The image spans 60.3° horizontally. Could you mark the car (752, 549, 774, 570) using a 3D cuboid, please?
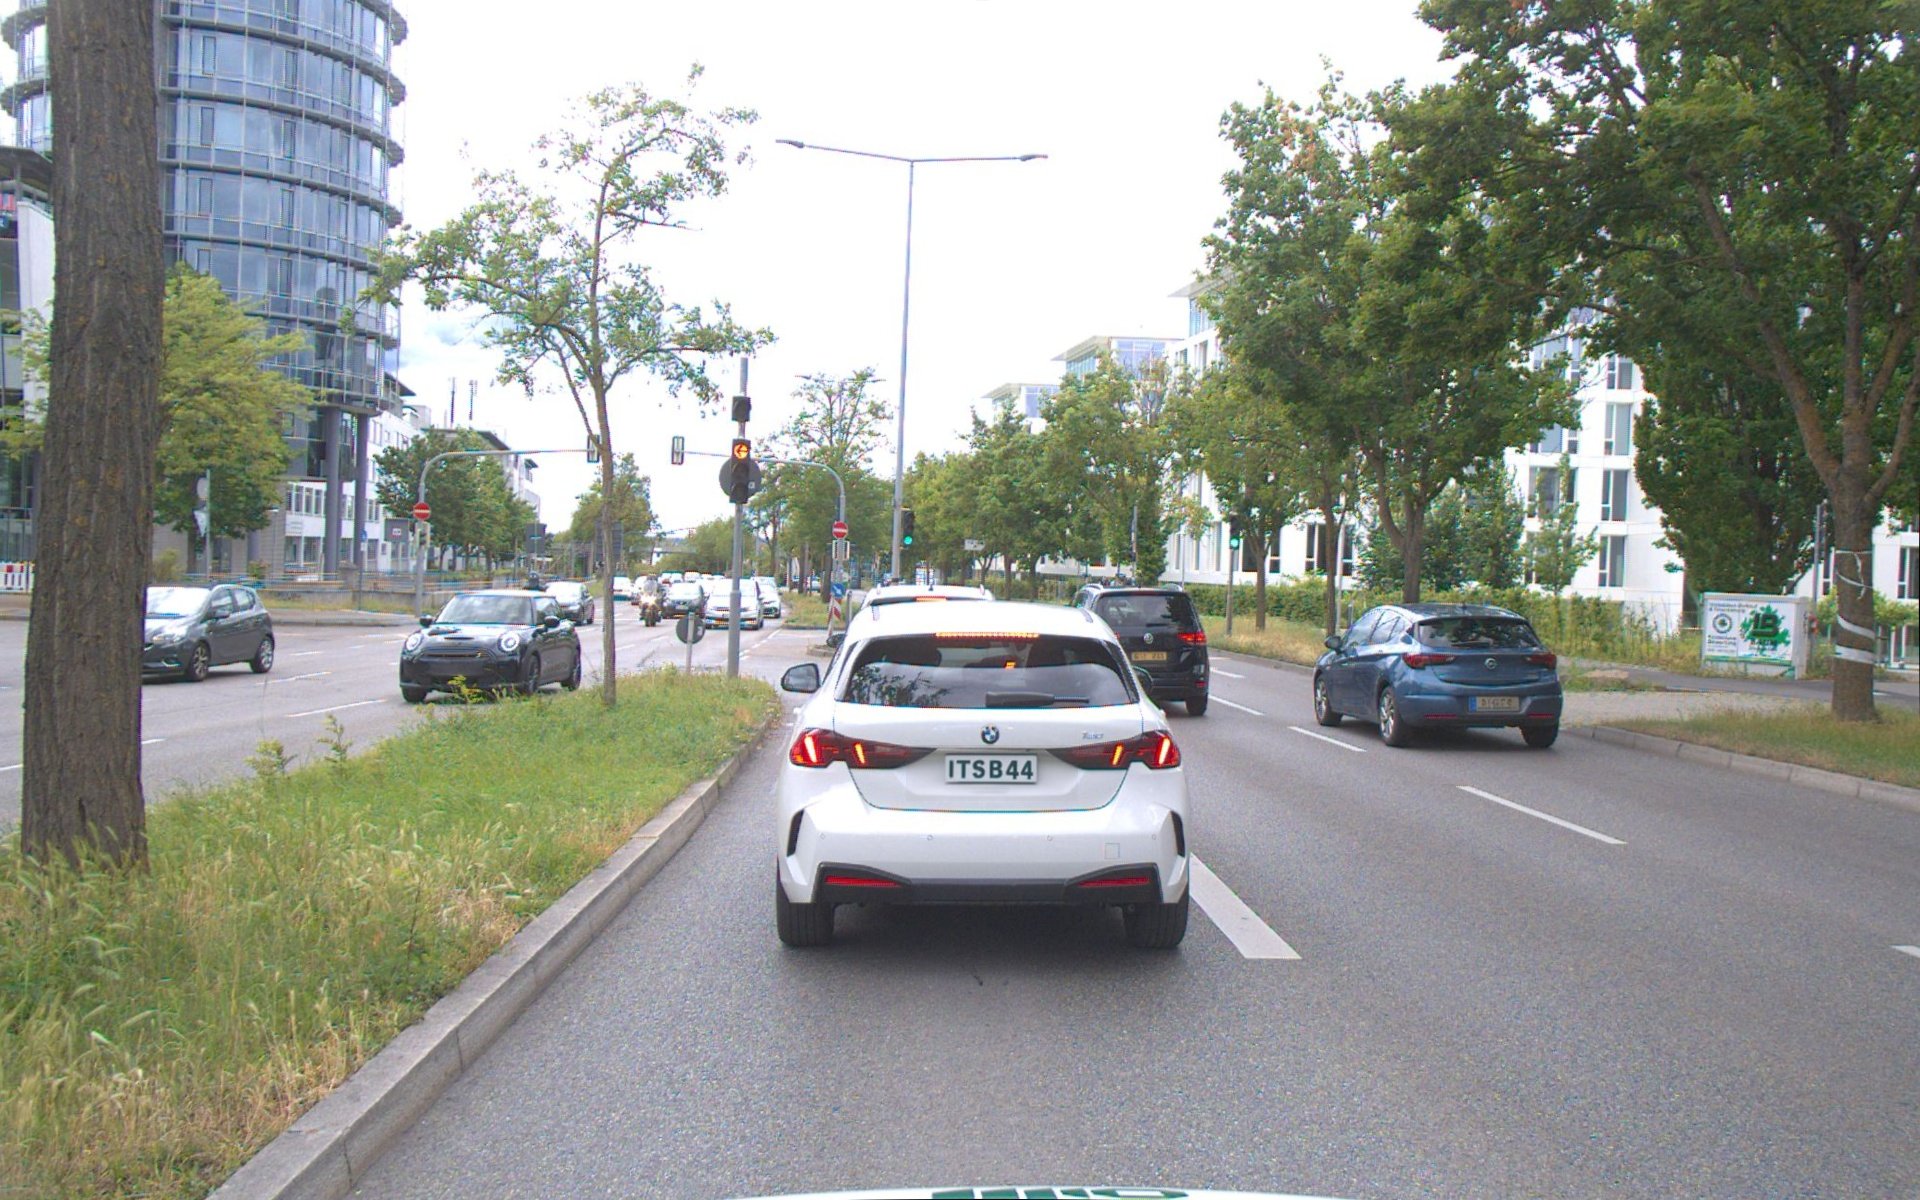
[{"bbox_3d":[-20.713,-4.198,173.936,1.954,2.045,4.321,3,0,-4],"label":"car"}]

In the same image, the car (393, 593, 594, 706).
[{"bbox_3d":[-6.254,0.617,22.597,1.718,1.395,3.779,0,0,-1],"label":"car"}]

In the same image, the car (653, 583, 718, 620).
[{"bbox_3d":[-11.071,0.046,66.958,1.953,1.378,3.999,1,0,-1],"label":"car"}]

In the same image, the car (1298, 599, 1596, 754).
[{"bbox_3d":[5.221,0.750,18.386,1.927,1.464,4.311,-1,0,-2],"label":"car"}]

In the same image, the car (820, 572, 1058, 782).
[{"bbox_3d":[-0.176,0.650,15.833,1.953,1.701,4.000,2,0,0],"label":"car"}]

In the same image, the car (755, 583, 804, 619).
[{"bbox_3d":[-7.572,0.015,69.580,1.633,1.429,3.999,1,0,-1],"label":"car"}]

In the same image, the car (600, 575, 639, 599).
[{"bbox_3d":[-21.149,-0.809,102.907,1.673,1.443,3.802,0,0,-1],"label":"car"}]

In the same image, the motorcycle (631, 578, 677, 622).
[{"bbox_3d":[-10.380,-0.022,56.278,0.871,1.422,3.999,1,0,-1],"label":"motorcycle"}]

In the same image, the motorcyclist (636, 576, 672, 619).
[{"bbox_3d":[-10.391,-0.086,56.232,0.891,1.416,1.673,1,0,-1],"label":"motorcyclist"}]

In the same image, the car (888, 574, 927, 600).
[{"bbox_3d":[-3.352,-0.832,105.281,1.957,1.624,3.991,2,0,-10],"label":"car"}]

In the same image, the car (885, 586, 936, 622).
[{"bbox_3d":[-2.398,0.162,78.784,2.014,1.512,4.967,-2,1,-6],"label":"car"}]

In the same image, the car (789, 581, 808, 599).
[{"bbox_3d":[-19.334,-1.173,198.355,1.953,2.049,3.999,1,0,-1],"label":"car"}]

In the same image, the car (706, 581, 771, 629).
[{"bbox_3d":[-7.258,0.154,54.513,1.673,1.523,3.802,0,0,-1],"label":"car"}]

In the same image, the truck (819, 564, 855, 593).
[{"bbox_3d":[-11.469,-1.990,153.772,2.806,2.563,6.276,2,0,-8],"label":"truck"}]

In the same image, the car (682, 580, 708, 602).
[{"bbox_3d":[-25.100,-0.846,156.817,1.954,2.046,4.321,1,0,-4],"label":"car"}]

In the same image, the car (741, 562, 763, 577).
[{"bbox_3d":[-23.969,-3.523,190.876,1.953,1.646,3.999,3,0,-1],"label":"car"}]

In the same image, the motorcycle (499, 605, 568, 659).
[{"bbox_3d":[-9.160,0.663,35.650,0.821,1.083,2.652,1,0,-1],"label":"motorcycle"}]

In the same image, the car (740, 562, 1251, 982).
[{"bbox_3d":[0.182,0.630,8.023,1.824,1.474,4.001,2,0,2],"label":"car"}]

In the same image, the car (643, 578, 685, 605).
[{"bbox_3d":[-16.400,-0.465,91.861,1.673,1.443,3.802,0,0,-1],"label":"car"}]

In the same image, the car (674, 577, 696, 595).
[{"bbox_3d":[-31.856,-1.584,191.791,1.954,2.046,4.321,1,0,-4],"label":"car"}]

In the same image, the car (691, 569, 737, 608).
[{"bbox_3d":[-13.503,-0.641,90.991,1.953,2.049,3.999,1,0,-2],"label":"car"}]

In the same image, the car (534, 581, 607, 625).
[{"bbox_3d":[-13.332,0.086,56.804,1.673,1.443,3.802,0,0,-1],"label":"car"}]

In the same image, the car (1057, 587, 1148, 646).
[{"bbox_3d":[3.888,0.436,45.733,1.758,1.498,4.695,2,0,-4],"label":"car"}]

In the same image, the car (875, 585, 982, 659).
[{"bbox_3d":[-0.645,0.476,37.143,1.951,1.534,4.002,1,0,5],"label":"car"}]

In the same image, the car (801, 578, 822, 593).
[{"bbox_3d":[-15.317,-1.486,170.042,1.956,1.534,3.993,1,0,-8],"label":"car"}]

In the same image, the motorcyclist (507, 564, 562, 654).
[{"bbox_3d":[-9.162,0.184,35.619,0.831,1.869,1.259,1,0,-1],"label":"motorcyclist"}]

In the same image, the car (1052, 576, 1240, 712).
[{"bbox_3d":[2.401,0.526,22.421,1.927,1.669,4.311,0,0,-2],"label":"car"}]

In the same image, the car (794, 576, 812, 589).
[{"bbox_3d":[-18.983,-2.116,200.048,1.957,1.534,3.991,1,0,-9],"label":"car"}]

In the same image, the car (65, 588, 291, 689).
[{"bbox_3d":[-12.126,0.543,25.931,1.673,1.443,4.018,0,0,-1],"label":"car"}]
